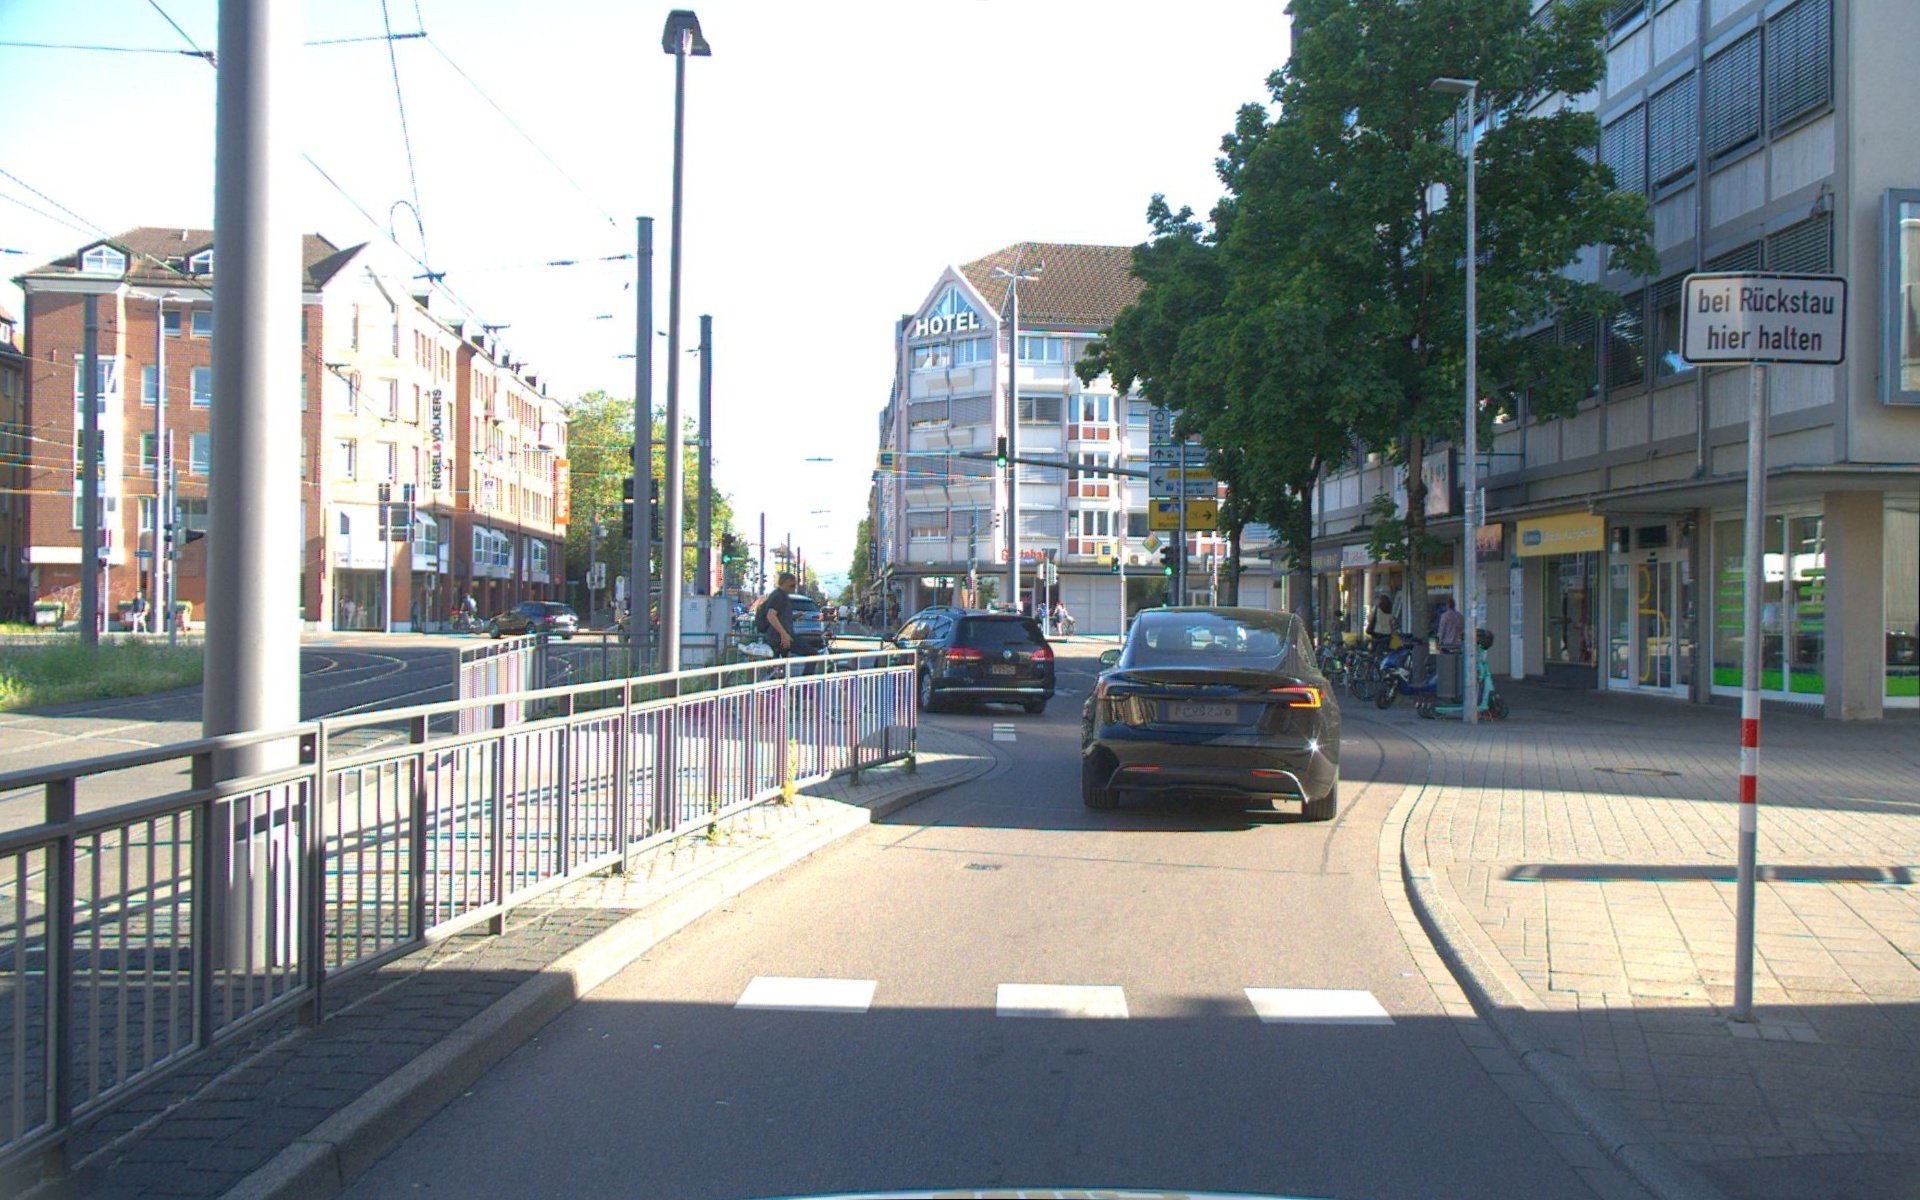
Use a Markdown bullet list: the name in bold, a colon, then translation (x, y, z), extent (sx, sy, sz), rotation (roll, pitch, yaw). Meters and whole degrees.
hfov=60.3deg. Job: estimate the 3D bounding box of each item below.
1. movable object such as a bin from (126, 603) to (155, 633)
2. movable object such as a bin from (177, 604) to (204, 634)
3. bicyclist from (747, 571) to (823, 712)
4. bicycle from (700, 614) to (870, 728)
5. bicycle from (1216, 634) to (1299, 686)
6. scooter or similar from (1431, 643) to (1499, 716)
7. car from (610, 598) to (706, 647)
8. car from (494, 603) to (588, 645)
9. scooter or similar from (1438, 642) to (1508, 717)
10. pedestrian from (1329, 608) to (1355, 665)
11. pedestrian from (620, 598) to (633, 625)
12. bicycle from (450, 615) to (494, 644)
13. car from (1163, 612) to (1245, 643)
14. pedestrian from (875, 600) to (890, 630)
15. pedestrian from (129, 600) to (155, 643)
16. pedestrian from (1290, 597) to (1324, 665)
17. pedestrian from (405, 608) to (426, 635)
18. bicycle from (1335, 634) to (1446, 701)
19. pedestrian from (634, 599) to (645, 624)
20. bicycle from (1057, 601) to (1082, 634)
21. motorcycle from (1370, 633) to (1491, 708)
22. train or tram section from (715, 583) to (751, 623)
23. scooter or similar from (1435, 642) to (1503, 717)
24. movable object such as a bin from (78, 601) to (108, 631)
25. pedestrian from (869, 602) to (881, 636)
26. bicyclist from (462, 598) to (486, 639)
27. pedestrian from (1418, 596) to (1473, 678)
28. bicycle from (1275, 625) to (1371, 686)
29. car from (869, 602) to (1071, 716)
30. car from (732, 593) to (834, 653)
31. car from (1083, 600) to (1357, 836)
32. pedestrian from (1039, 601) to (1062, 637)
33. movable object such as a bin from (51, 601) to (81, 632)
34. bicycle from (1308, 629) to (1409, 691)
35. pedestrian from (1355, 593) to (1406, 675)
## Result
- **movable object such as a bin**: translation (-40.677, 0.874, 82.112), extent (0.978, 1.462, 1.093), rotation (1, -1, -11)
- **movable object such as a bin**: translation (-38.376, 0.931, 82.487), extent (0.978, 1.462, 1.093), rotation (1, -1, -11)
- **bicyclist**: translation (-1.974, 0.466, 18.629), extent (0.672, 1.550, 0.629), rotation (1, -1, -26)
- **bicycle**: translation (-1.965, 0.790, 18.628), extent (1.798, 1.233, 0.636), rotation (1, -1, -26)
- **bicycle**: translation (7.018, 1.422, 39.076), extent (1.851, 1.177, 0.480), rotation (-1, -1, -1)
- **scooter or similar**: translation (7.319, 1.154, 23.981), extent (0.944, 1.045, 0.160), rotation (0, -1, 1)
- **car**: translation (-10.572, 0.778, 57.797), extent (1.565, 1.646, 3.724), rotation (2, -1, -42)
- **car**: translation (-16.320, 0.916, 64.338), extent (3.402, 1.578, 1.725), rotation (0, -1, 34)
- **scooter or similar**: translation (7.316, 1.127, 23.583), extent (0.944, 1.061, 0.160), rotation (0, -1, 1)
- **pedestrian**: translation (9.867, 0.933, 42.757), extent (0.631, 1.447, 0.621), rotation (1, -1, 11)
- **pedestrian**: translation (-22.070, 0.783, 109.396), extent (0.572, 1.751, 0.637), rotation (0, -1, 24)
- **bicycle**: translation (-21.537, 1.288, 72.942), extent (1.996, 1.245, 0.627), rotation (0, -1, 30)
- **car**: translation (12.276, 1.400, 83.280), extent (3.767, 1.457, 1.800), rotation (1, -3, -7)
- **pedestrian**: translation (-4.764, 0.918, 101.879), extent (0.896, 1.785, 0.839), rotation (1, -1, -3)
- **pedestrian**: translation (-33.527, 0.899, 67.806), extent (0.682, 1.740, 0.928), rotation (1, -1, -8)
- **pedestrian**: translation (9.045, 0.797, 43.152), extent (0.825, 1.751, 0.880), rotation (1, -1, 11)
- **pedestrian**: translation (-32.850, 1.293, 99.799), extent (0.866, 1.596, 0.864), rotation (0, -1, 20)
- **bicycle**: translation (7.282, 1.136, 27.978), extent (1.818, 1.074, 0.398), rotation (-1, -1, -13)
- **pedestrian**: translation (-20.340, 0.745, 105.057), extent (0.574, 1.558, 0.634), rotation (1, -1, -19)
- **bicycle**: translation (5.020, 0.808, 75.874), extent (0.573, 1.489, 1.678), rotation (0, 0, -17)
- **motorcycle**: translation (7.375, 1.100, 25.930), extent (1.752, 1.149, 0.503), rotation (1, -1, -4)
- **train or tram section**: translation (-21.685, 0.338, 158.388), extent (2.675, 3.604, 10.078), rotation (1, -1, -4)
- **scooter or similar**: translation (7.318, 1.142, 23.781), extent (0.936, 1.057, 0.160), rotation (0, -1, 1)
- **movable object such as a bin**: translation (-42.913, 0.782, 81.871), extent (0.978, 1.462, 1.093), rotation (1, -1, -11)
- **pedestrian**: translation (-4.676, 1.039, 90.914), extent (0.614, 1.814, 0.917), rotation (1, -1, -5)
- **bicyclist**: translation (-21.421, 0.824, 72.878), extent (0.812, 1.803, 0.613), rotation (0, -1, 29)
- **pedestrian**: translation (9.845, 0.743, 33.530), extent (0.826, 1.630, 0.879), rotation (1, -1, -2)
- **bicycle**: translation (7.021, 1.063, 31.999), extent (1.774, 1.172, 0.435), rotation (0, -1, -6)
- **car**: translation (0.027, 0.782, 24.053), extent (1.736, 1.469, 4.509), rotation (1, 0, -16)
- **car**: translation (-5.220, 0.671, 48.513), extent (1.818, 1.663, 3.453), rotation (1, -1, -28)
- **car**: translation (2.080, 0.757, 12.737), extent (1.752, 1.476, 3.943), rotation (1, 0, 12)
- **pedestrian**: translation (4.137, 0.867, 75.847), extent (0.767, 1.604, 0.864), rotation (1, 0, -17)
- **movable object such as a bin**: translation (-44.094, 0.817, 81.607), extent (0.978, 1.462, 1.093), rotation (1, -1, -11)
- **bicycle**: translation (7.225, 1.085, 30.016), extent (1.730, 1.075, 0.458), rotation (1, -1, 3)
- **pedestrian**: translation (9.053, 0.732, 35.638), extent (0.826, 1.737, 0.879), rotation (1, -1, -2)
